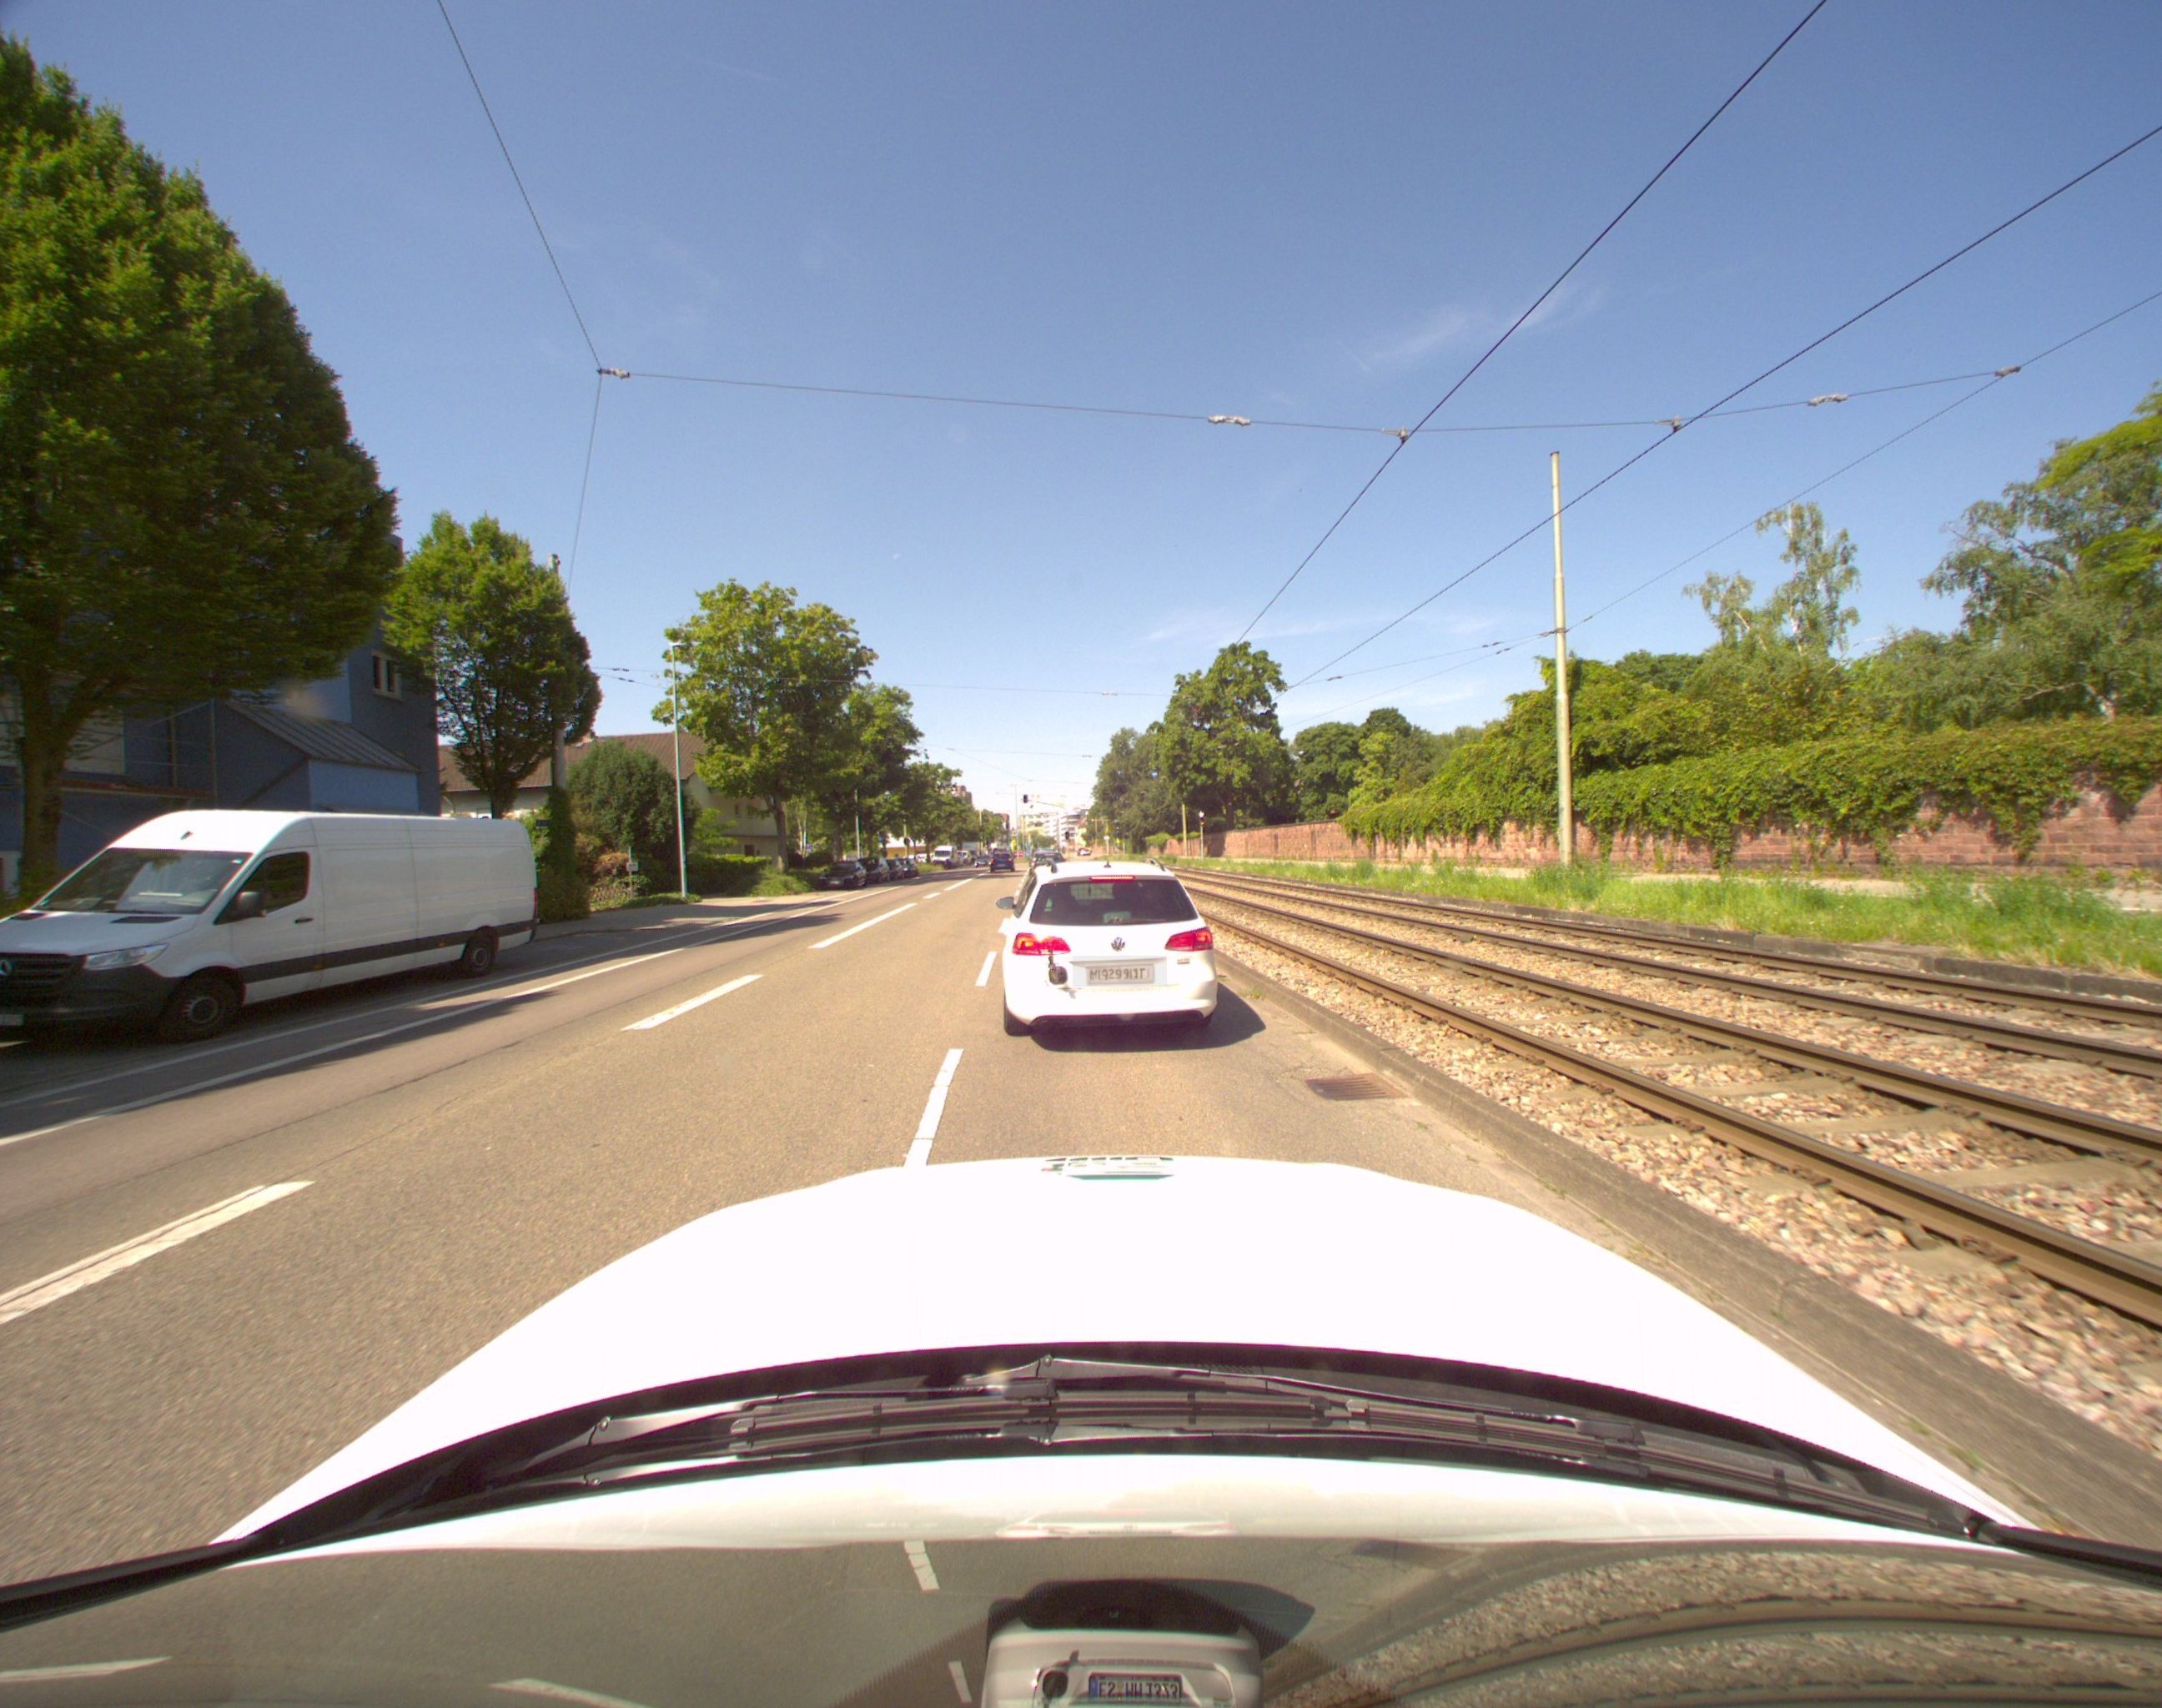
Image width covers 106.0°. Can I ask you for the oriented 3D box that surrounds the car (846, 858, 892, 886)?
[{"bbox_3d":[-12.853,1.054,49.636,1.694,1.482,4.000,-3,0,0],"label":"car"}]

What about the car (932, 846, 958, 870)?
[{"bbox_3d":[-14.895,0.420,89.200,1.874,2.415,5.116,-3,0,0],"label":"car"}]

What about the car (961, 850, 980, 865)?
[{"bbox_3d":[-14.897,0.474,109.745,1.820,1.867,4.724,-3,0,0],"label":"car"}]

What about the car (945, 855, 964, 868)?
[{"bbox_3d":[-14.697,0.808,94.811,1.695,1.402,3.998,-3,0,-1],"label":"car"}]

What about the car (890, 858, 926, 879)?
[{"bbox_3d":[-12.776,1.054,60.342,1.694,1.352,4.000,-3,0,0],"label":"car"}]

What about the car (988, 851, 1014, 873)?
[{"bbox_3d":[-5.907,0.569,60.367,1.797,1.507,3.995,-1,1,-4],"label":"car"}]

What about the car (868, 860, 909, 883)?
[{"bbox_3d":[-12.959,1.146,55.044,1.694,1.352,4.000,-3,0,0],"label":"car"}]

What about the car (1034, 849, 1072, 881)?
[{"bbox_3d":[-1.467,0.508,41.426,1.797,1.507,3.995,-1,1,-4],"label":"car"}]

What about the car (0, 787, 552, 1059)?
[{"bbox_3d":[-10.833,0.683,11.691,1.989,2.714,7.150,0,0,-2],"label":"car"}]

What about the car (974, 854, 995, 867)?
[{"bbox_3d":[-10.138,0.681,85.892,1.695,1.272,3.998,-3,0,-1],"label":"car"}]

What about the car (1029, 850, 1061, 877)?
[{"bbox_3d":[-2.157,0.521,48.493,1.797,1.460,3.995,-1,1,-4],"label":"car"}]

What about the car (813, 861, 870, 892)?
[{"bbox_3d":[-12.313,1.114,42.176,1.694,1.417,4.000,-3,0,0],"label":"car"}]

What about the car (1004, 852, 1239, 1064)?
[{"bbox_3d":[0.121,0.742,8.181,1.688,1.451,4.451,-2,0,-5],"label":"car"}]
